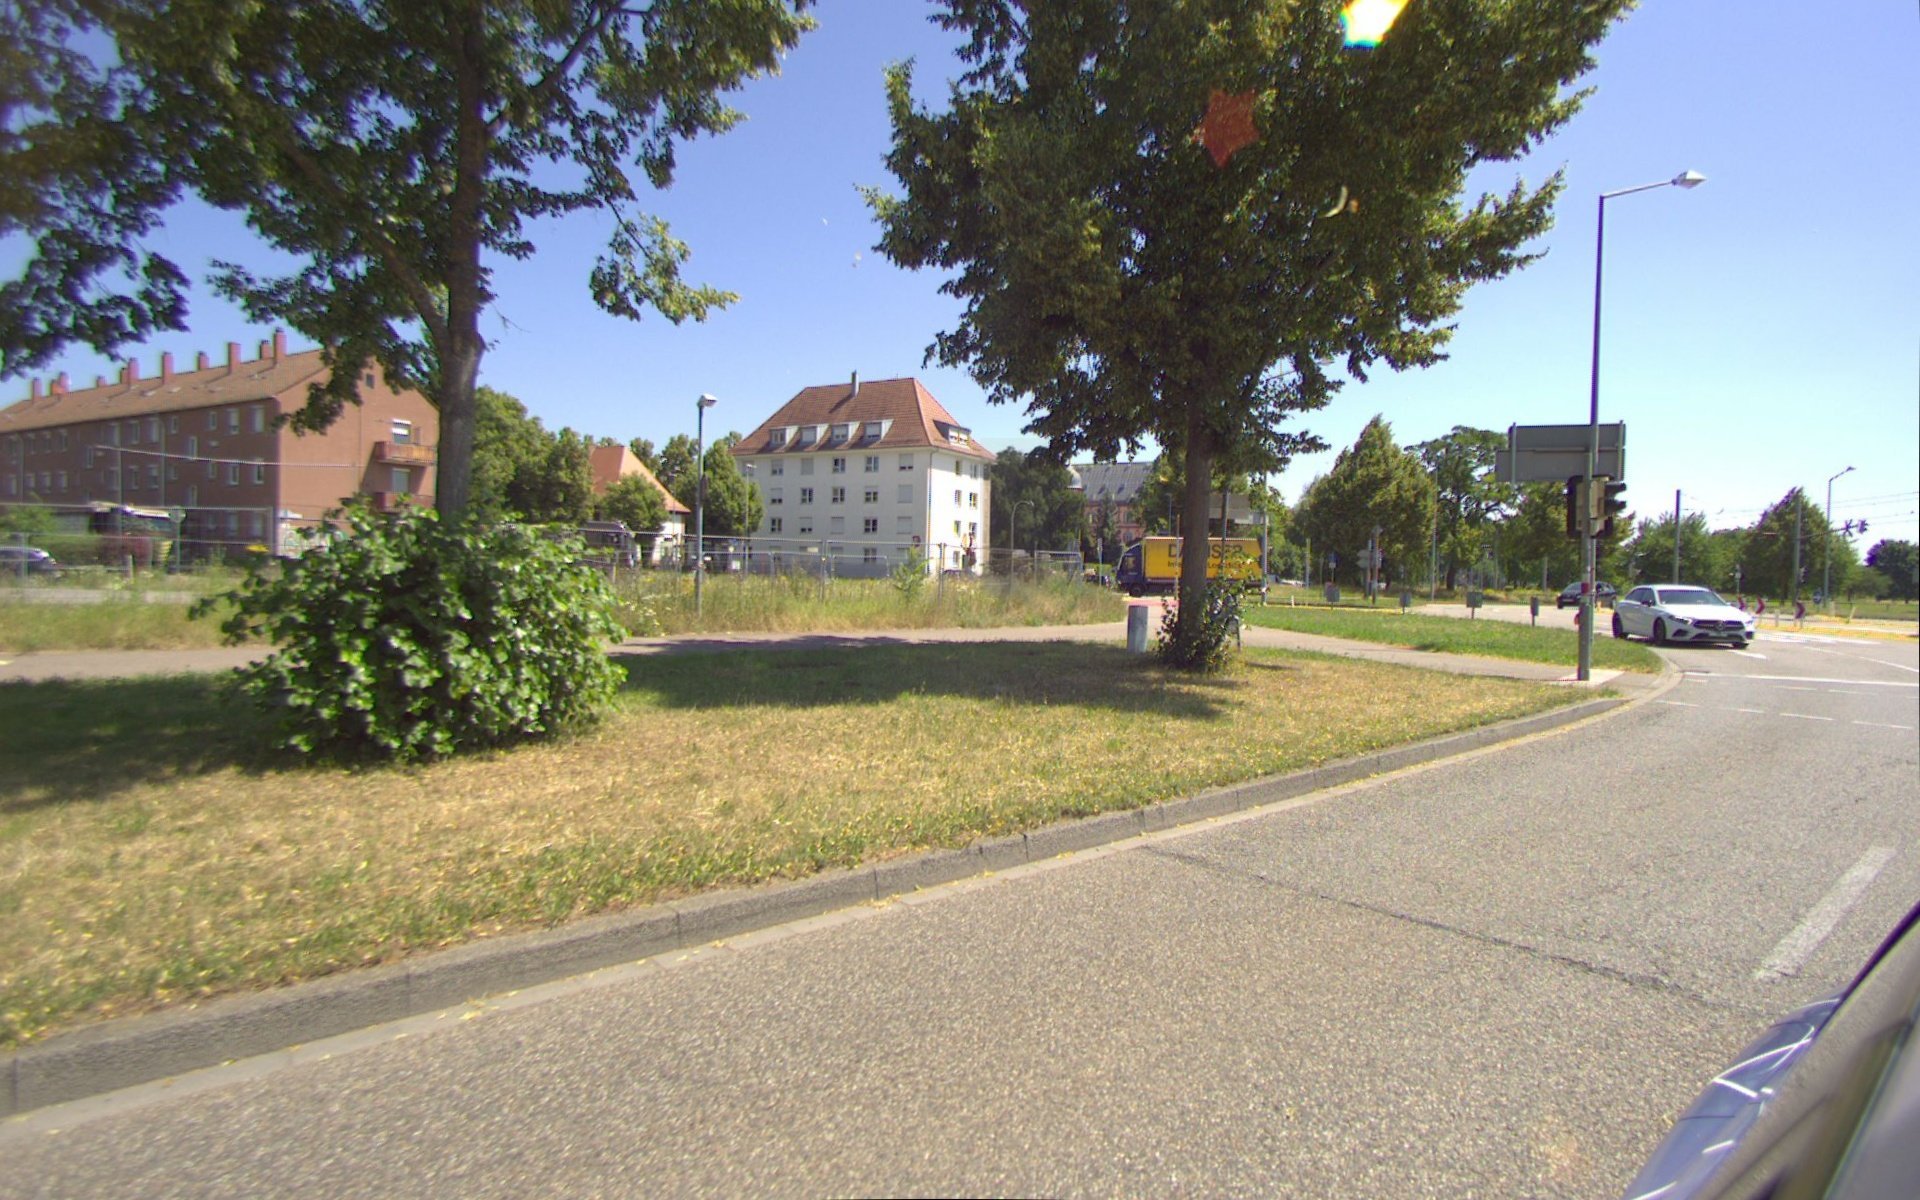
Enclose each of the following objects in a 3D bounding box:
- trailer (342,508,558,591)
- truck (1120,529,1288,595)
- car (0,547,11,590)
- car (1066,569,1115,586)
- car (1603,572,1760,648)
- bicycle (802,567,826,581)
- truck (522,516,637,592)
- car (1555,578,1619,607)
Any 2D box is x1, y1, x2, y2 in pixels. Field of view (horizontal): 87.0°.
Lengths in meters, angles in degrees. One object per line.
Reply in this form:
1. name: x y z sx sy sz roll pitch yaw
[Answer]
1. trailer: -24.173 -2.301 48.193 8.821 3.576 3.166 0 2 -35
2. truck: 14.511 -2.264 60.886 9.447 3.704 2.704 1 1 6
3. car: -38.444 -1.226 38.468 3.358 1.633 1.369 0 2 -40
4. car: 11.044 -1.945 85.826 3.779 1.343 1.641 2 2 32
5. car: 17.335 0.169 24.543 1.756 1.564 3.946 1 3 15
6. bicycle: -11.630 -2.080 80.412 1.975 1.036 0.701 3 5 37
7. truck: -18.805 -2.269 50.375 4.861 3.576 3.171 1 1 -11
8. car: 32.628 -0.431 52.637 1.974 1.435 3.936 3 3 44
